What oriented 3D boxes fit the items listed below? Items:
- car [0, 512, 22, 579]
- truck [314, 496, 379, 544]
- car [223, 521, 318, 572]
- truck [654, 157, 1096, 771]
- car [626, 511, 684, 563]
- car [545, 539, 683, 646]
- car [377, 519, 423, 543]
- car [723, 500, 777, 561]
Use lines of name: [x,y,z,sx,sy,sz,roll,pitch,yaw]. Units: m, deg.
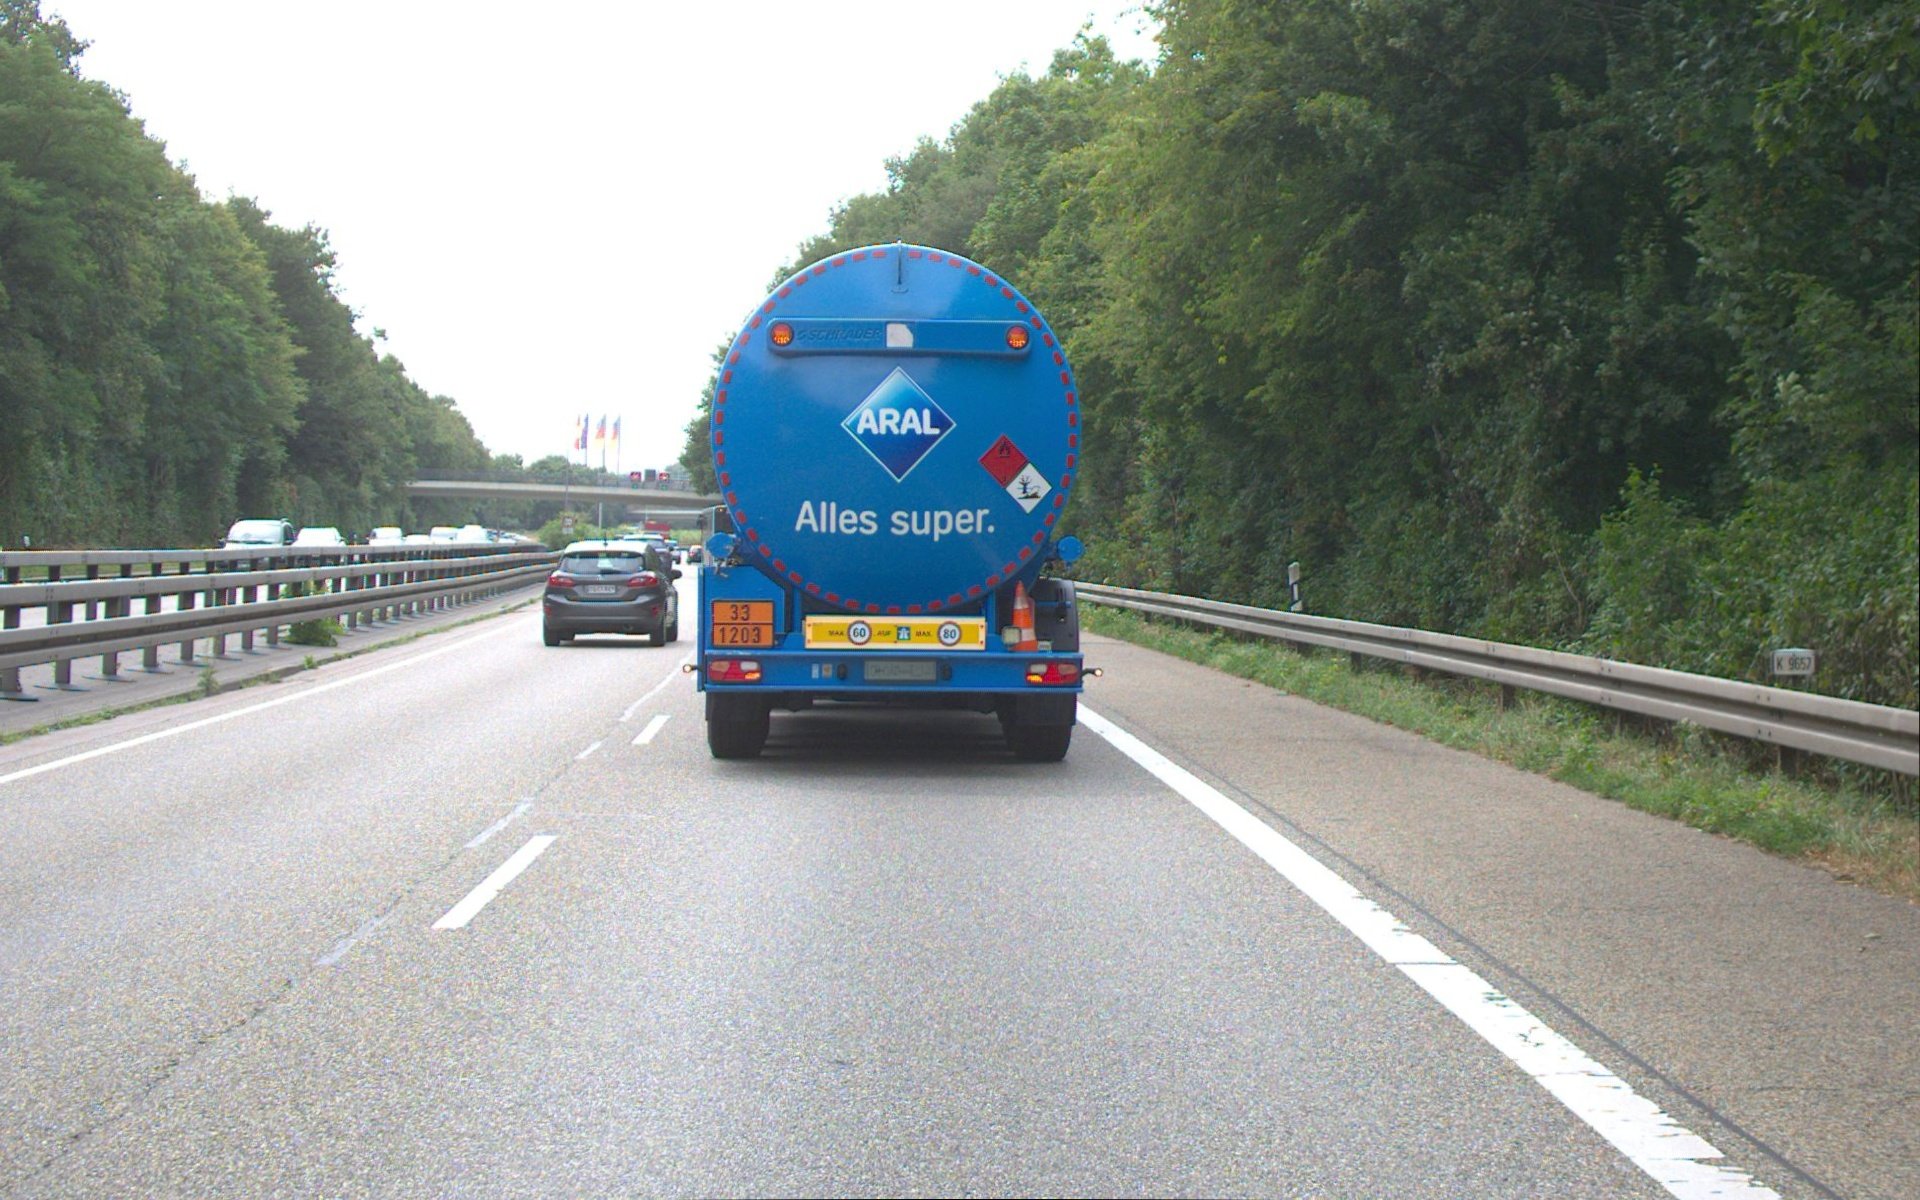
car: [-17.654,-0.942,59.497,1.742,1.185,4.291,0,1,-1]
truck: [-22.801,-2.956,127.783,1.993,1.733,4.001,0,1,-4]
car: [-16.605,-1.298,82.966,1.742,1.185,4.291,0,1,-4]
truck: [-0.524,-0.939,25.348,2.755,3.833,7.689,0,1,0]
car: [-9.735,-1.999,109.532,1.826,1.604,4.168,0,1,-6]
car: [-4.911,-0.139,49.242,1.826,1.453,4.640,0,1,-4]
car: [-27.522,-3.392,169.094,1.742,1.185,4.291,0,1,-3]
car: [-7.833,-2.574,128.326,1.993,2.237,4.001,0,1,-3]
